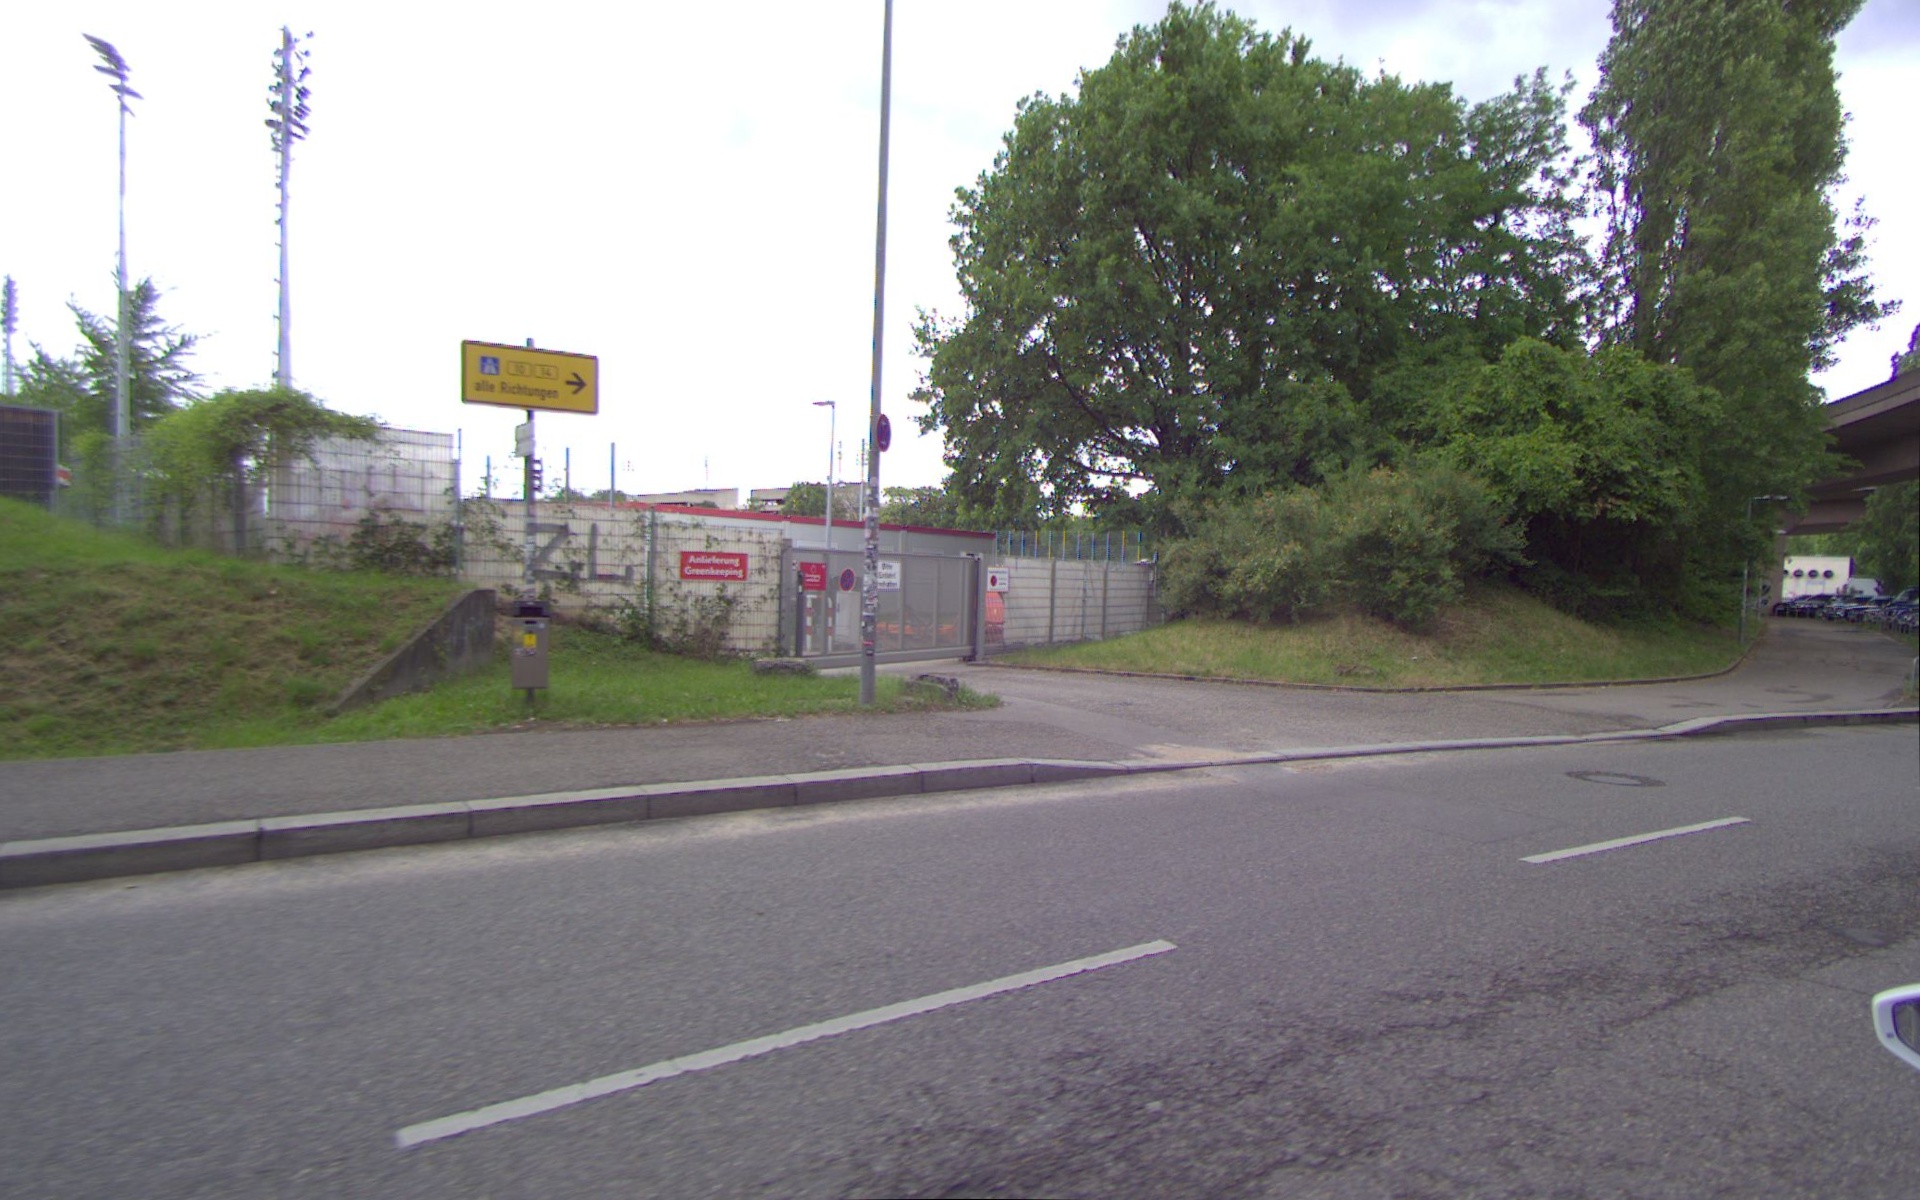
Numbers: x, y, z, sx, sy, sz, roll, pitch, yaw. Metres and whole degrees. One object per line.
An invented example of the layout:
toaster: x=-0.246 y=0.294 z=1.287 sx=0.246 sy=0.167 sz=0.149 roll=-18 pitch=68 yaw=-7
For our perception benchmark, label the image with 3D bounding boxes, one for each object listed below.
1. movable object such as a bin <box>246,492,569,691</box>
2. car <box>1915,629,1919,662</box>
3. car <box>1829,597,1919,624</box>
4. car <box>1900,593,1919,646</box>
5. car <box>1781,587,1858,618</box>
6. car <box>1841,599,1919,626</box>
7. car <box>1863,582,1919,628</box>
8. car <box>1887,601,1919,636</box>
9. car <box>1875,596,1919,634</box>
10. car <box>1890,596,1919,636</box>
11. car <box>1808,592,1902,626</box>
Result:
movable object such as a bin: x=-8.701 y=-0.114 z=16.262 sx=1.989 sy=2.758 sz=4.229 roll=1 pitch=0 yaw=24
car: x=26.047 y=1.020 z=23.999 sx=4.739 sy=1.500 sz=1.997 roll=4 pitch=5 yaw=-7
car: x=54.327 y=0.627 z=59.714 sx=3.813 sy=1.494 sz=1.792 roll=1 pitch=1 yaw=-4
car: x=33.139 y=0.731 z=32.305 sx=4.084 sy=1.714 sz=1.861 roll=2 pitch=2 yaw=-4
car: x=57.986 y=0.179 z=67.797 sx=4.009 sy=1.735 sz=1.655 roll=3 pitch=4 yaw=-9
car: x=52.749 y=0.699 z=56.613 sx=4.556 sy=1.454 sz=1.999 roll=1 pitch=0 yaw=-3
car: x=49.567 y=0.311 z=51.492 sx=4.924 sy=2.285 sz=2.122 roll=1 pitch=0 yaw=-6
car: x=42.049 y=0.827 z=42.928 sx=3.667 sy=1.461 sz=1.646 roll=1 pitch=0 yaw=-9
car: x=44.462 y=0.697 z=45.648 sx=4.073 sy=1.698 sz=1.901 roll=1 pitch=0 yaw=-1
car: x=40.388 y=0.707 z=40.156 sx=4.794 sy=1.508 sz=1.861 roll=1 pitch=4 yaw=-4
car: x=55.482 y=0.544 z=62.298 sx=4.218 sy=1.824 sz=1.846 roll=-3 pitch=0 yaw=-3
